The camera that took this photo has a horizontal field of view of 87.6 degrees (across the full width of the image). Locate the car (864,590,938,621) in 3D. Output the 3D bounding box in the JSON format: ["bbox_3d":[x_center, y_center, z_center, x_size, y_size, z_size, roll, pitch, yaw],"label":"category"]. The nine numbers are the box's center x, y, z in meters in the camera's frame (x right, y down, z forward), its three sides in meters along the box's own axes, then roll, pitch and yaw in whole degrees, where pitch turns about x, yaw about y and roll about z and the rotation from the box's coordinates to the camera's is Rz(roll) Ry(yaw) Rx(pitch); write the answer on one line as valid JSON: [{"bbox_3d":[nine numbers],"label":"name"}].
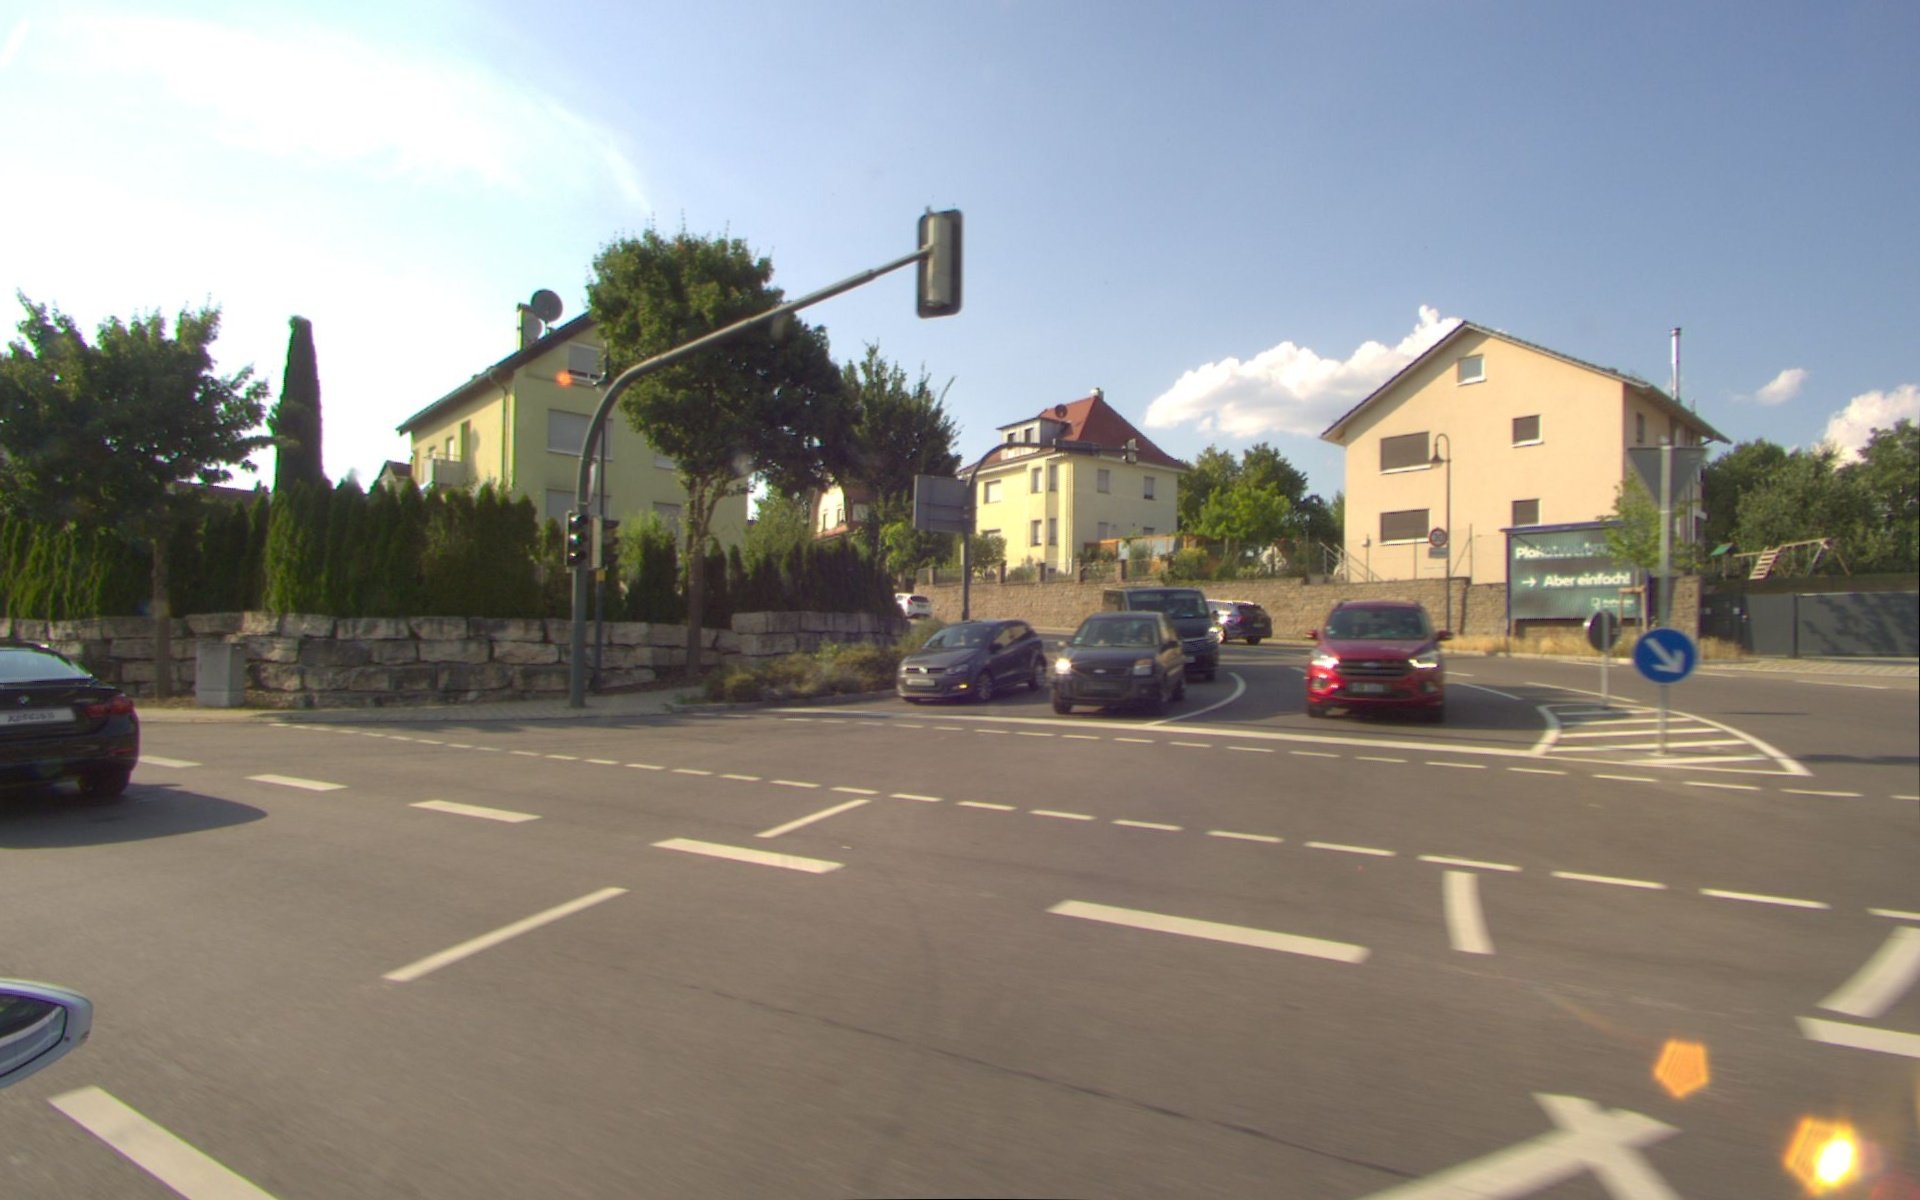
[{"bbox_3d":[-3.103,0.299,52.039,1.847,1.513,3.968,2,-2,-39],"label":"car"}]

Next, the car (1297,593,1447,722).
[{"bbox_3d":[6.337,0.811,15.140,1.832,1.646,4.240,0,-2,26],"label":"car"}]

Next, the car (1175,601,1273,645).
[{"bbox_3d":[9.045,0.791,34.705,1.604,1.428,4.276,1,-1,-11],"label":"car"}]

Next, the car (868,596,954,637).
[{"bbox_3d":[-2.110,0.723,42.513,1.973,1.664,3.977,1,-2,-32],"label":"car"}]

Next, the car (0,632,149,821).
[{"bbox_3d":[-8.980,0.996,8.777,4.202,1.386,1.696,0,-1,33],"label":"car"}]

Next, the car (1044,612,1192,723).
[{"bbox_3d":[2.642,0.983,16.060,1.571,1.562,3.790,0,-1,21],"label":"car"}]

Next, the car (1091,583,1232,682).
[{"bbox_3d":[4.347,0.671,22.535,1.961,1.957,5.178,1,0,-2],"label":"car"}]

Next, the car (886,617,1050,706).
[{"bbox_3d":[0.244,1.079,18.840,1.602,1.468,3.595,-1,-1,28],"label":"car"}]
